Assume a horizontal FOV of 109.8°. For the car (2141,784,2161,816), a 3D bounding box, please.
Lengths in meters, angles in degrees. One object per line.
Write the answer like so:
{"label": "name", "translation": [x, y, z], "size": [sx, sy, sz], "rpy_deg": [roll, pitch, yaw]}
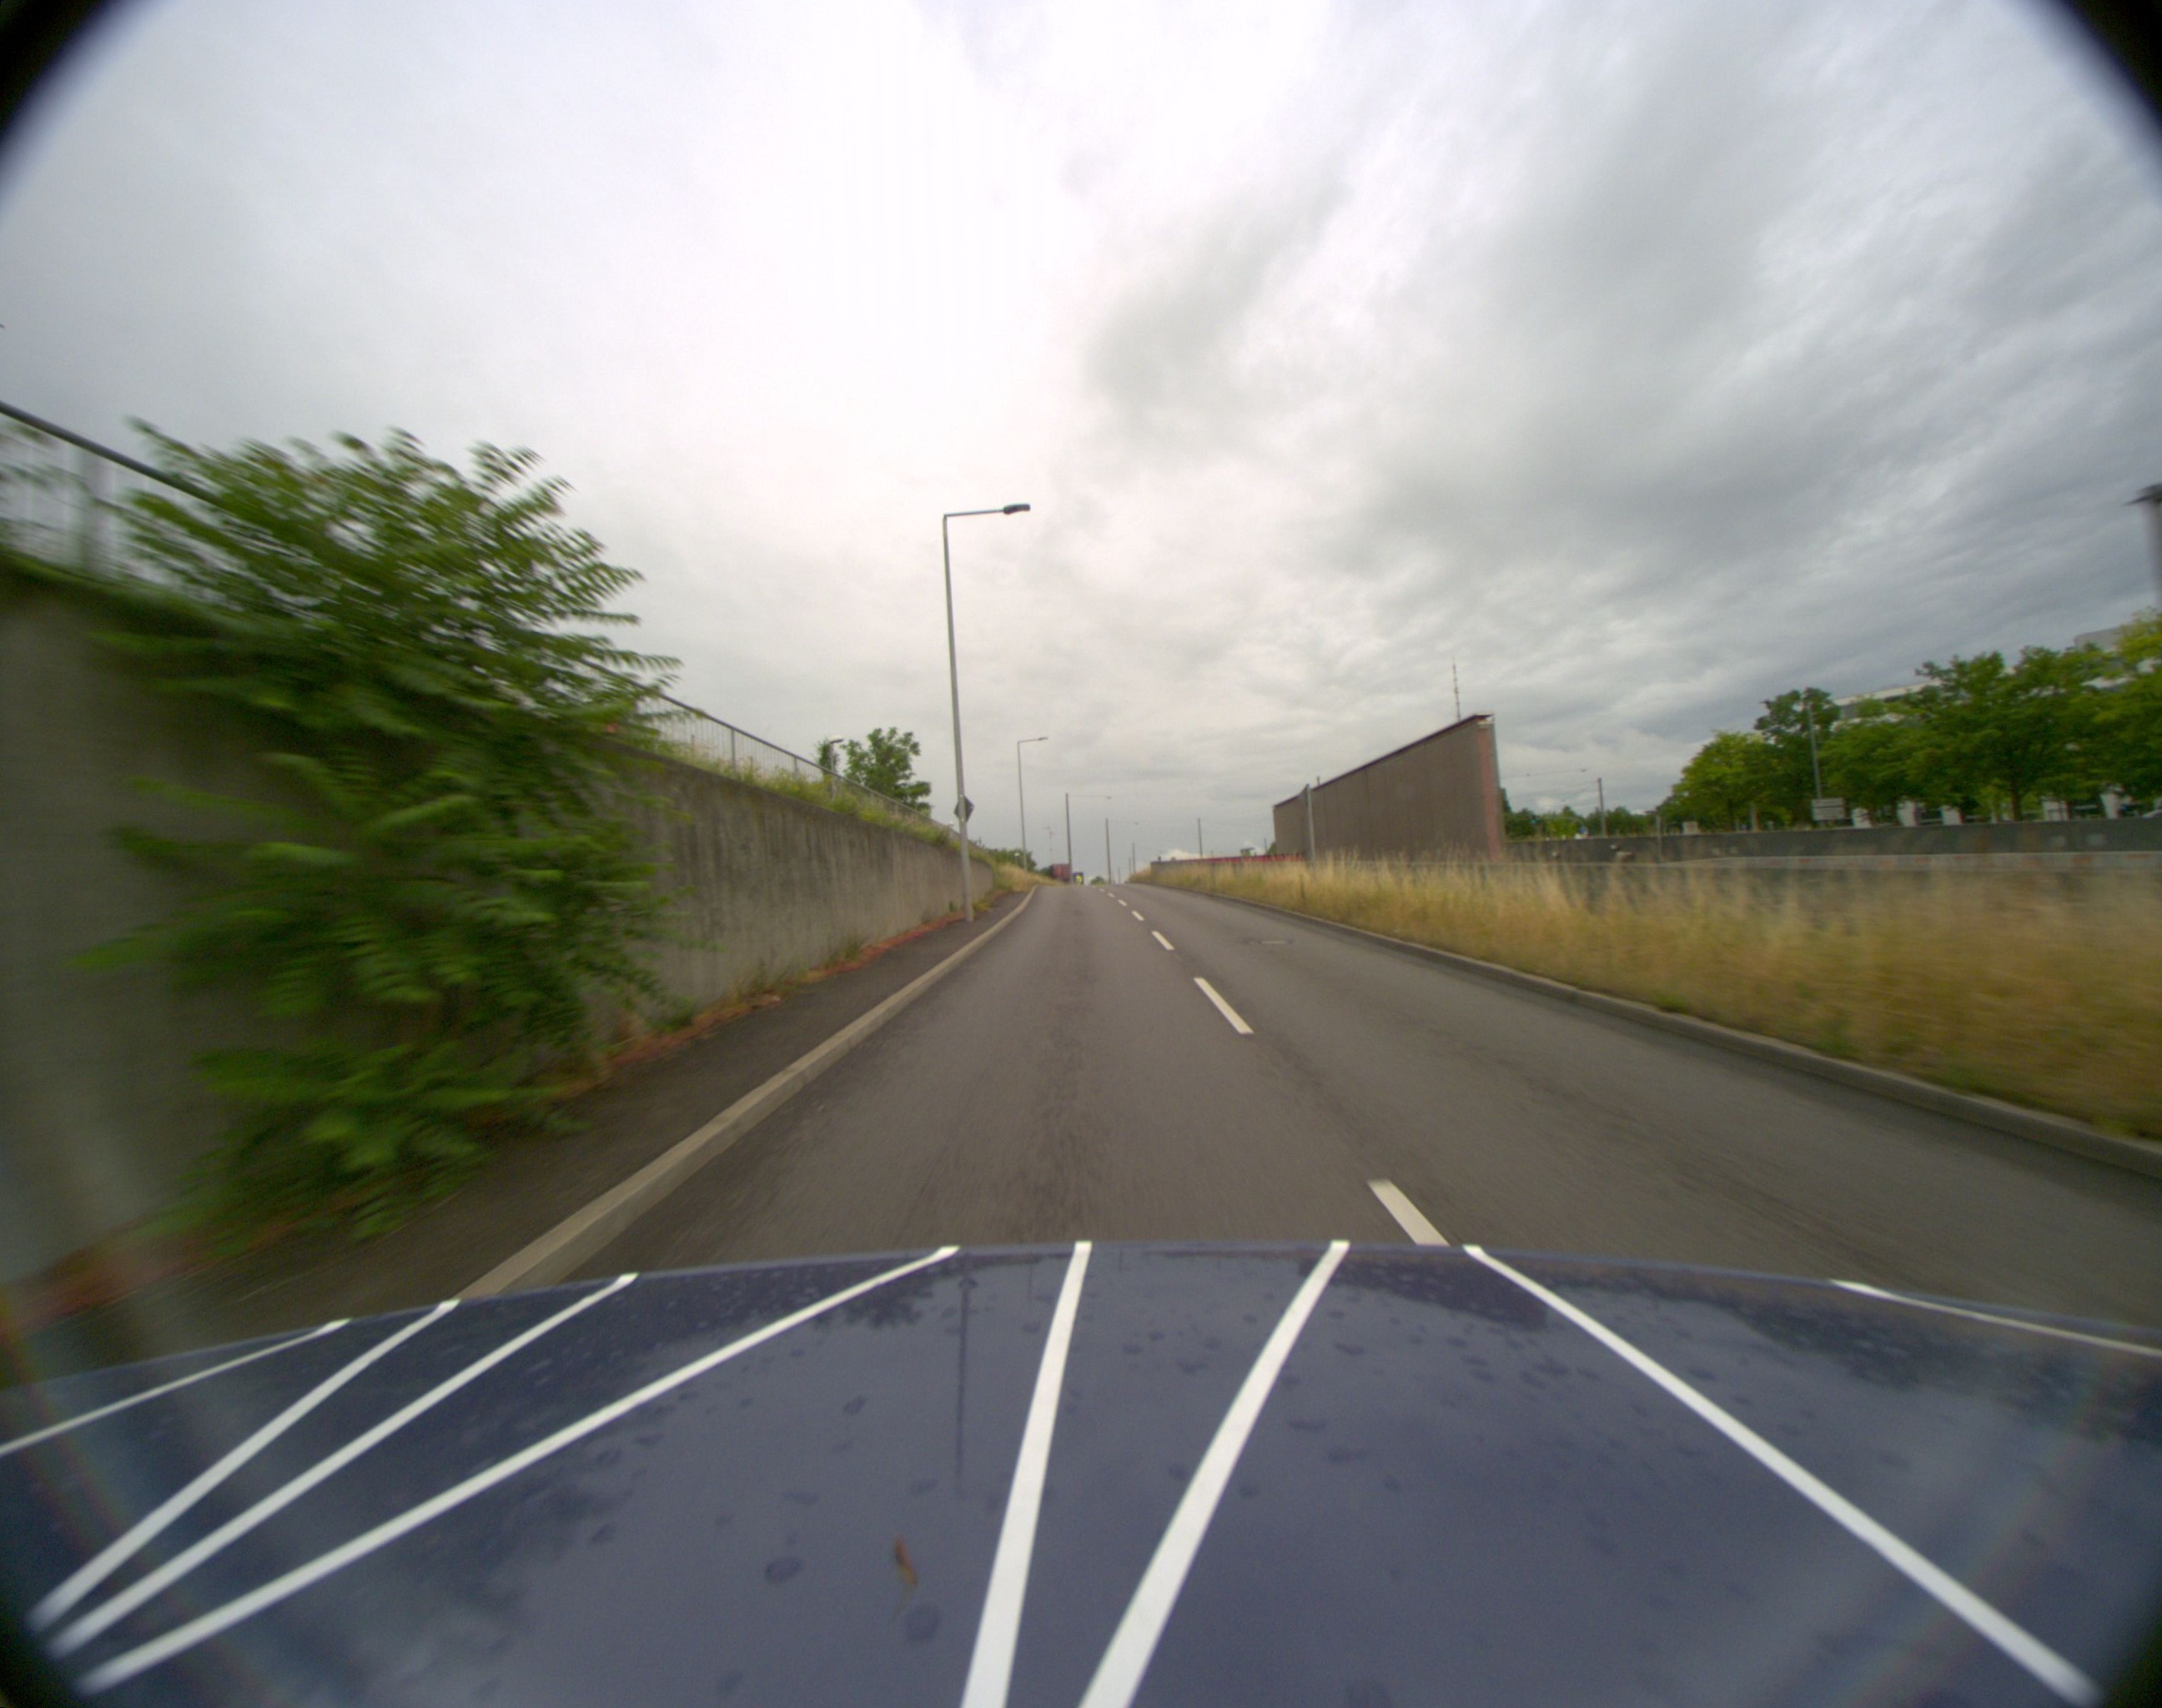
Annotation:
{"label": "car", "translation": [72.840, -3.791, 49.389], "size": [1.999, 2.000, 4.002], "rpy_deg": [-6, -4, -3]}

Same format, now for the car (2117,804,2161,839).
{"label": "car", "translation": [69.335, -2.233, 47.965], "size": [1.999, 2.000, 4.002], "rpy_deg": [-6, -4, -3]}
